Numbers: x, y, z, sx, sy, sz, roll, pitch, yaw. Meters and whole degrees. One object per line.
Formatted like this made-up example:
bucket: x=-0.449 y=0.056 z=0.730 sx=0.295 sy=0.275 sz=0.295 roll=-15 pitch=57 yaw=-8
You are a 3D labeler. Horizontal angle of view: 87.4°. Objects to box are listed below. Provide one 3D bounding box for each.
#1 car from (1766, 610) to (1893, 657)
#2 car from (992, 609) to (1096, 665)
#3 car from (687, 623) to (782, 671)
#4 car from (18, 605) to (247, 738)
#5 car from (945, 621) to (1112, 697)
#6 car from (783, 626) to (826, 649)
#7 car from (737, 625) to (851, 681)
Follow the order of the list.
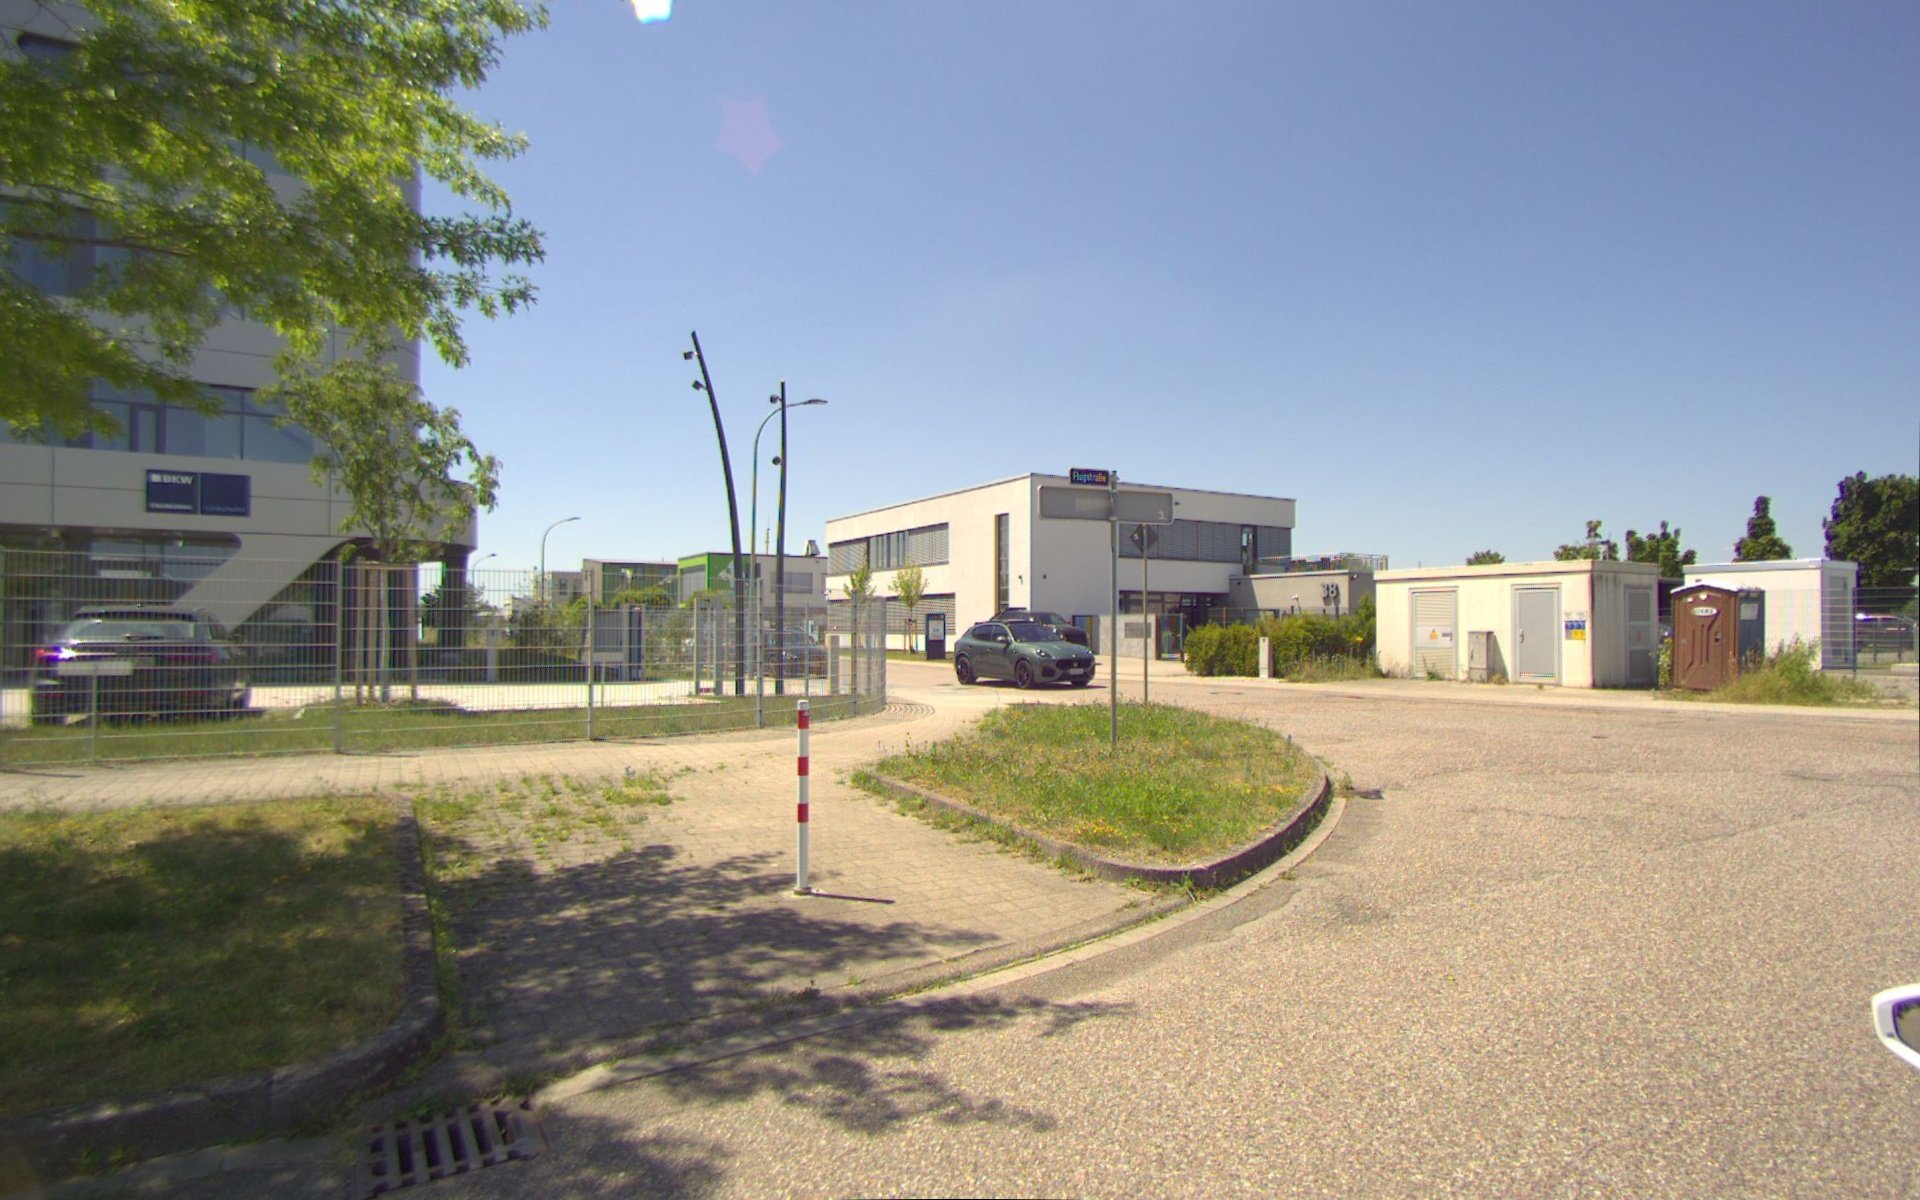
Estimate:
car: x=39.801 y=1.510 z=46.068 sx=1.976 sy=2.040 sz=3.969 roll=0 pitch=-2 yaw=-30
car: x=3.200 y=1.423 z=38.920 sx=1.979 sy=2.040 sz=3.964 roll=1 pitch=-2 yaw=-33
car: x=-8.018 y=1.658 z=35.527 sx=1.979 sy=1.560 sz=3.964 roll=4 pitch=-4 yaw=-33
car: x=-10.121 y=0.837 z=12.553 sx=1.658 sy=1.409 sz=3.462 roll=1 pitch=-3 yaw=-31
car: x=1.657 y=1.459 z=25.942 sx=1.938 sy=1.730 sz=4.468 roll=-1 pitch=-1 yaw=-35
car: x=-11.166 y=2.655 z=71.805 sx=1.554 sy=1.572 sz=3.964 roll=1 pitch=-2 yaw=-33
car: x=-5.137 y=1.598 z=30.694 sx=1.979 sy=1.560 sz=3.964 roll=4 pitch=-4 yaw=-33
